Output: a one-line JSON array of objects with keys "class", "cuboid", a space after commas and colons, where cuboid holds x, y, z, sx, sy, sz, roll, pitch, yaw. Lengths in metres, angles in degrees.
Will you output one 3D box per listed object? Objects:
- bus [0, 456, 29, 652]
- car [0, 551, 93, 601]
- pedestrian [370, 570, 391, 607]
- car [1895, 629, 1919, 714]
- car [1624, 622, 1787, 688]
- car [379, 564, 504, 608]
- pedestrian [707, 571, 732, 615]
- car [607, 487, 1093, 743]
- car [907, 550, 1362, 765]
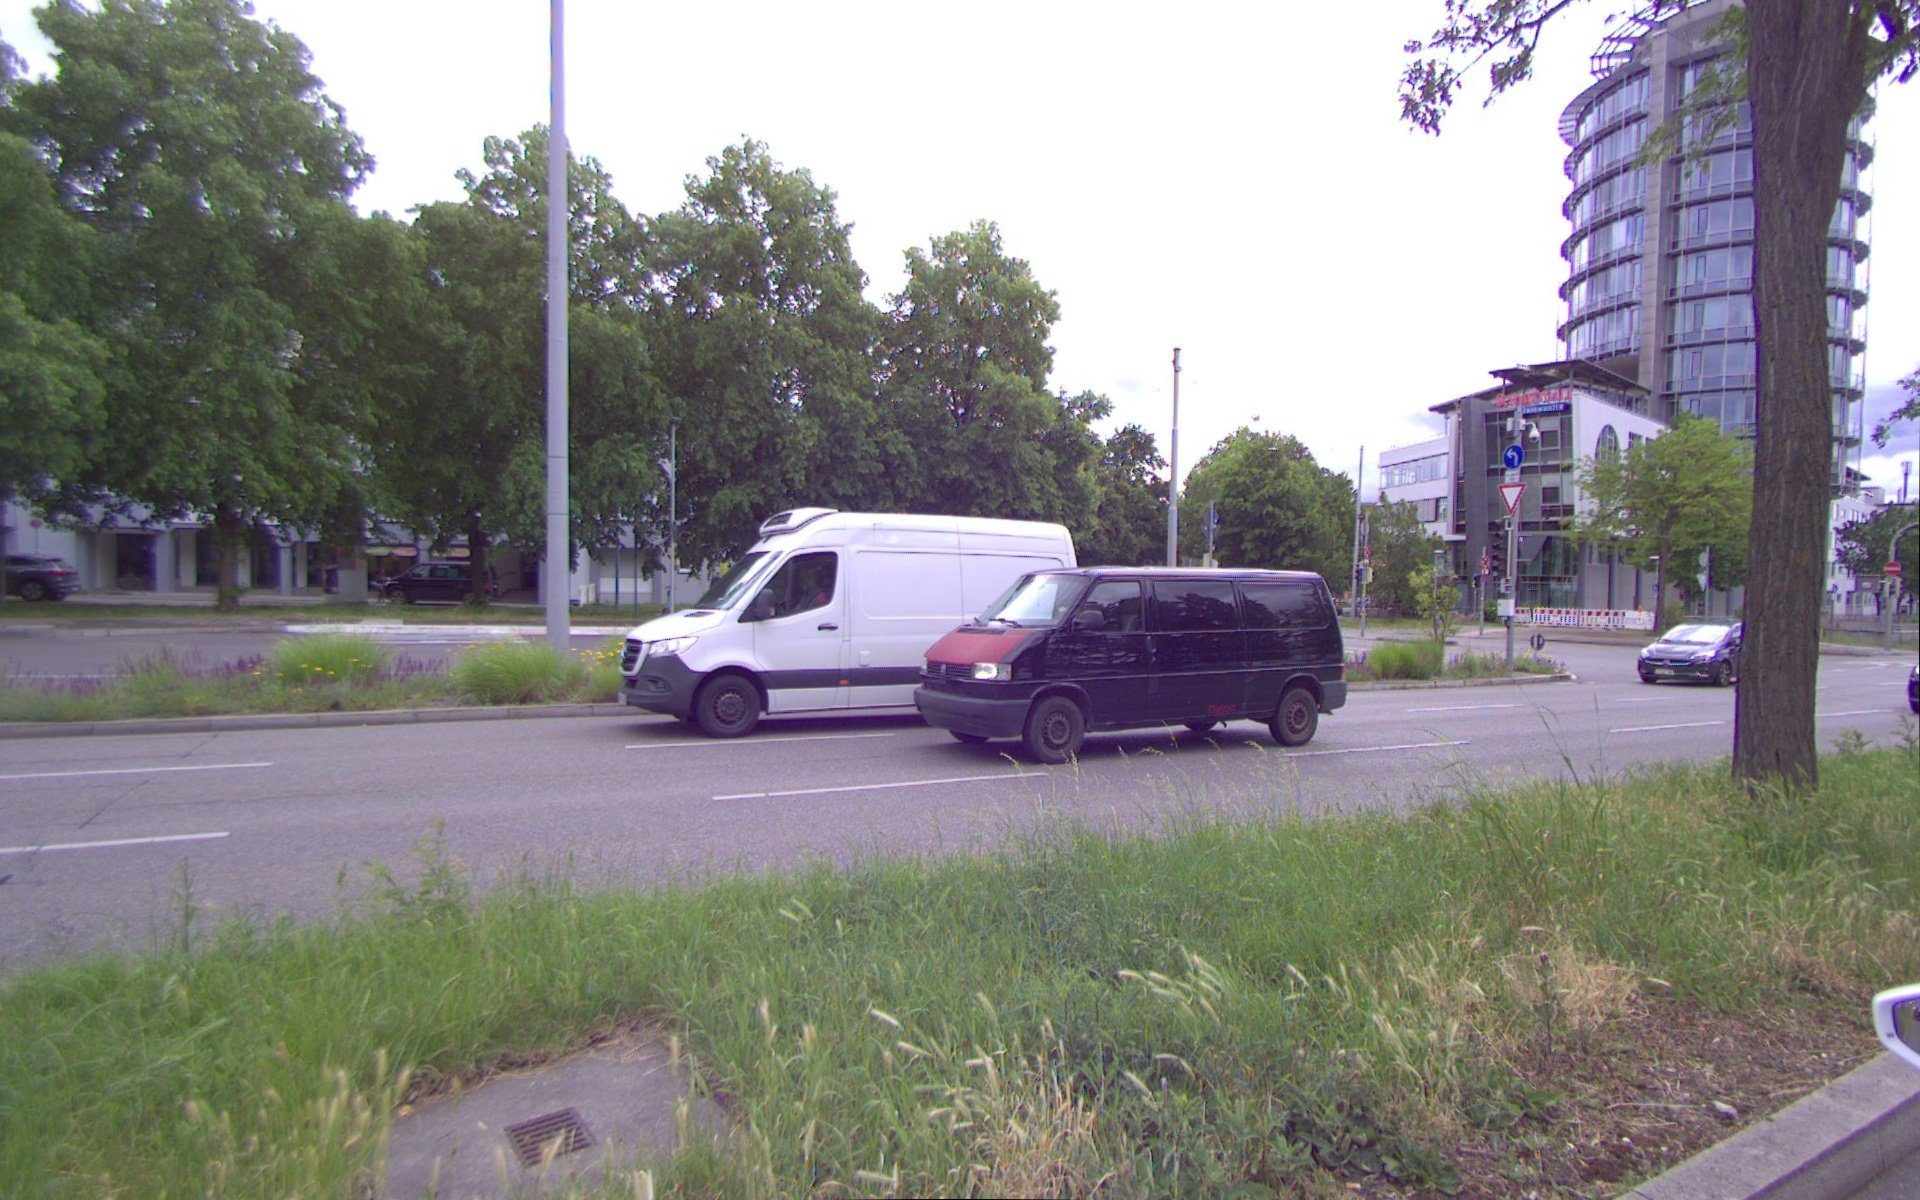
[{"class": "bus", "cuboid": [-21.493, -0.912, 15.626, 9.778, 3.502, 3.021, 1, 2, -26]}, {"class": "car", "cuboid": [-32.022, -0.835, 33.571, 4.190, 1.602, 1.987, 1, 1, -25]}, {"class": "pedestrian", "cuboid": [-24.832, -0.504, 43.072, 0.658, 1.568, 0.656, 1, 1, -21]}, {"class": "car", "cuboid": [17.758, 1.218, 17.067, 3.735, 1.389, 1.745, 1, 0, -30]}, {"class": "car", "cuboid": [17.814, 1.268, 23.972, 3.972, 1.438, 1.699, 1, 0, -30]}, {"class": "car", "cuboid": [-23.740, -0.640, 46.147, 4.736, 1.857, 1.994, 1, 1, -15]}, {"class": "pedestrian", "cuboid": [-9.557, -0.262, 39.870, 0.847, 1.711, 0.453, 1, 1, -30]}, {"class": "car", "cuboid": [-1.268, 0.183, 12.702, 5.802, 2.669, 1.985, 1, 0, -28]}, {"class": "car", "cuboid": [2.036, 0.576, 11.141, 4.915, 1.943, 1.926, 1, -1, -30]}]
